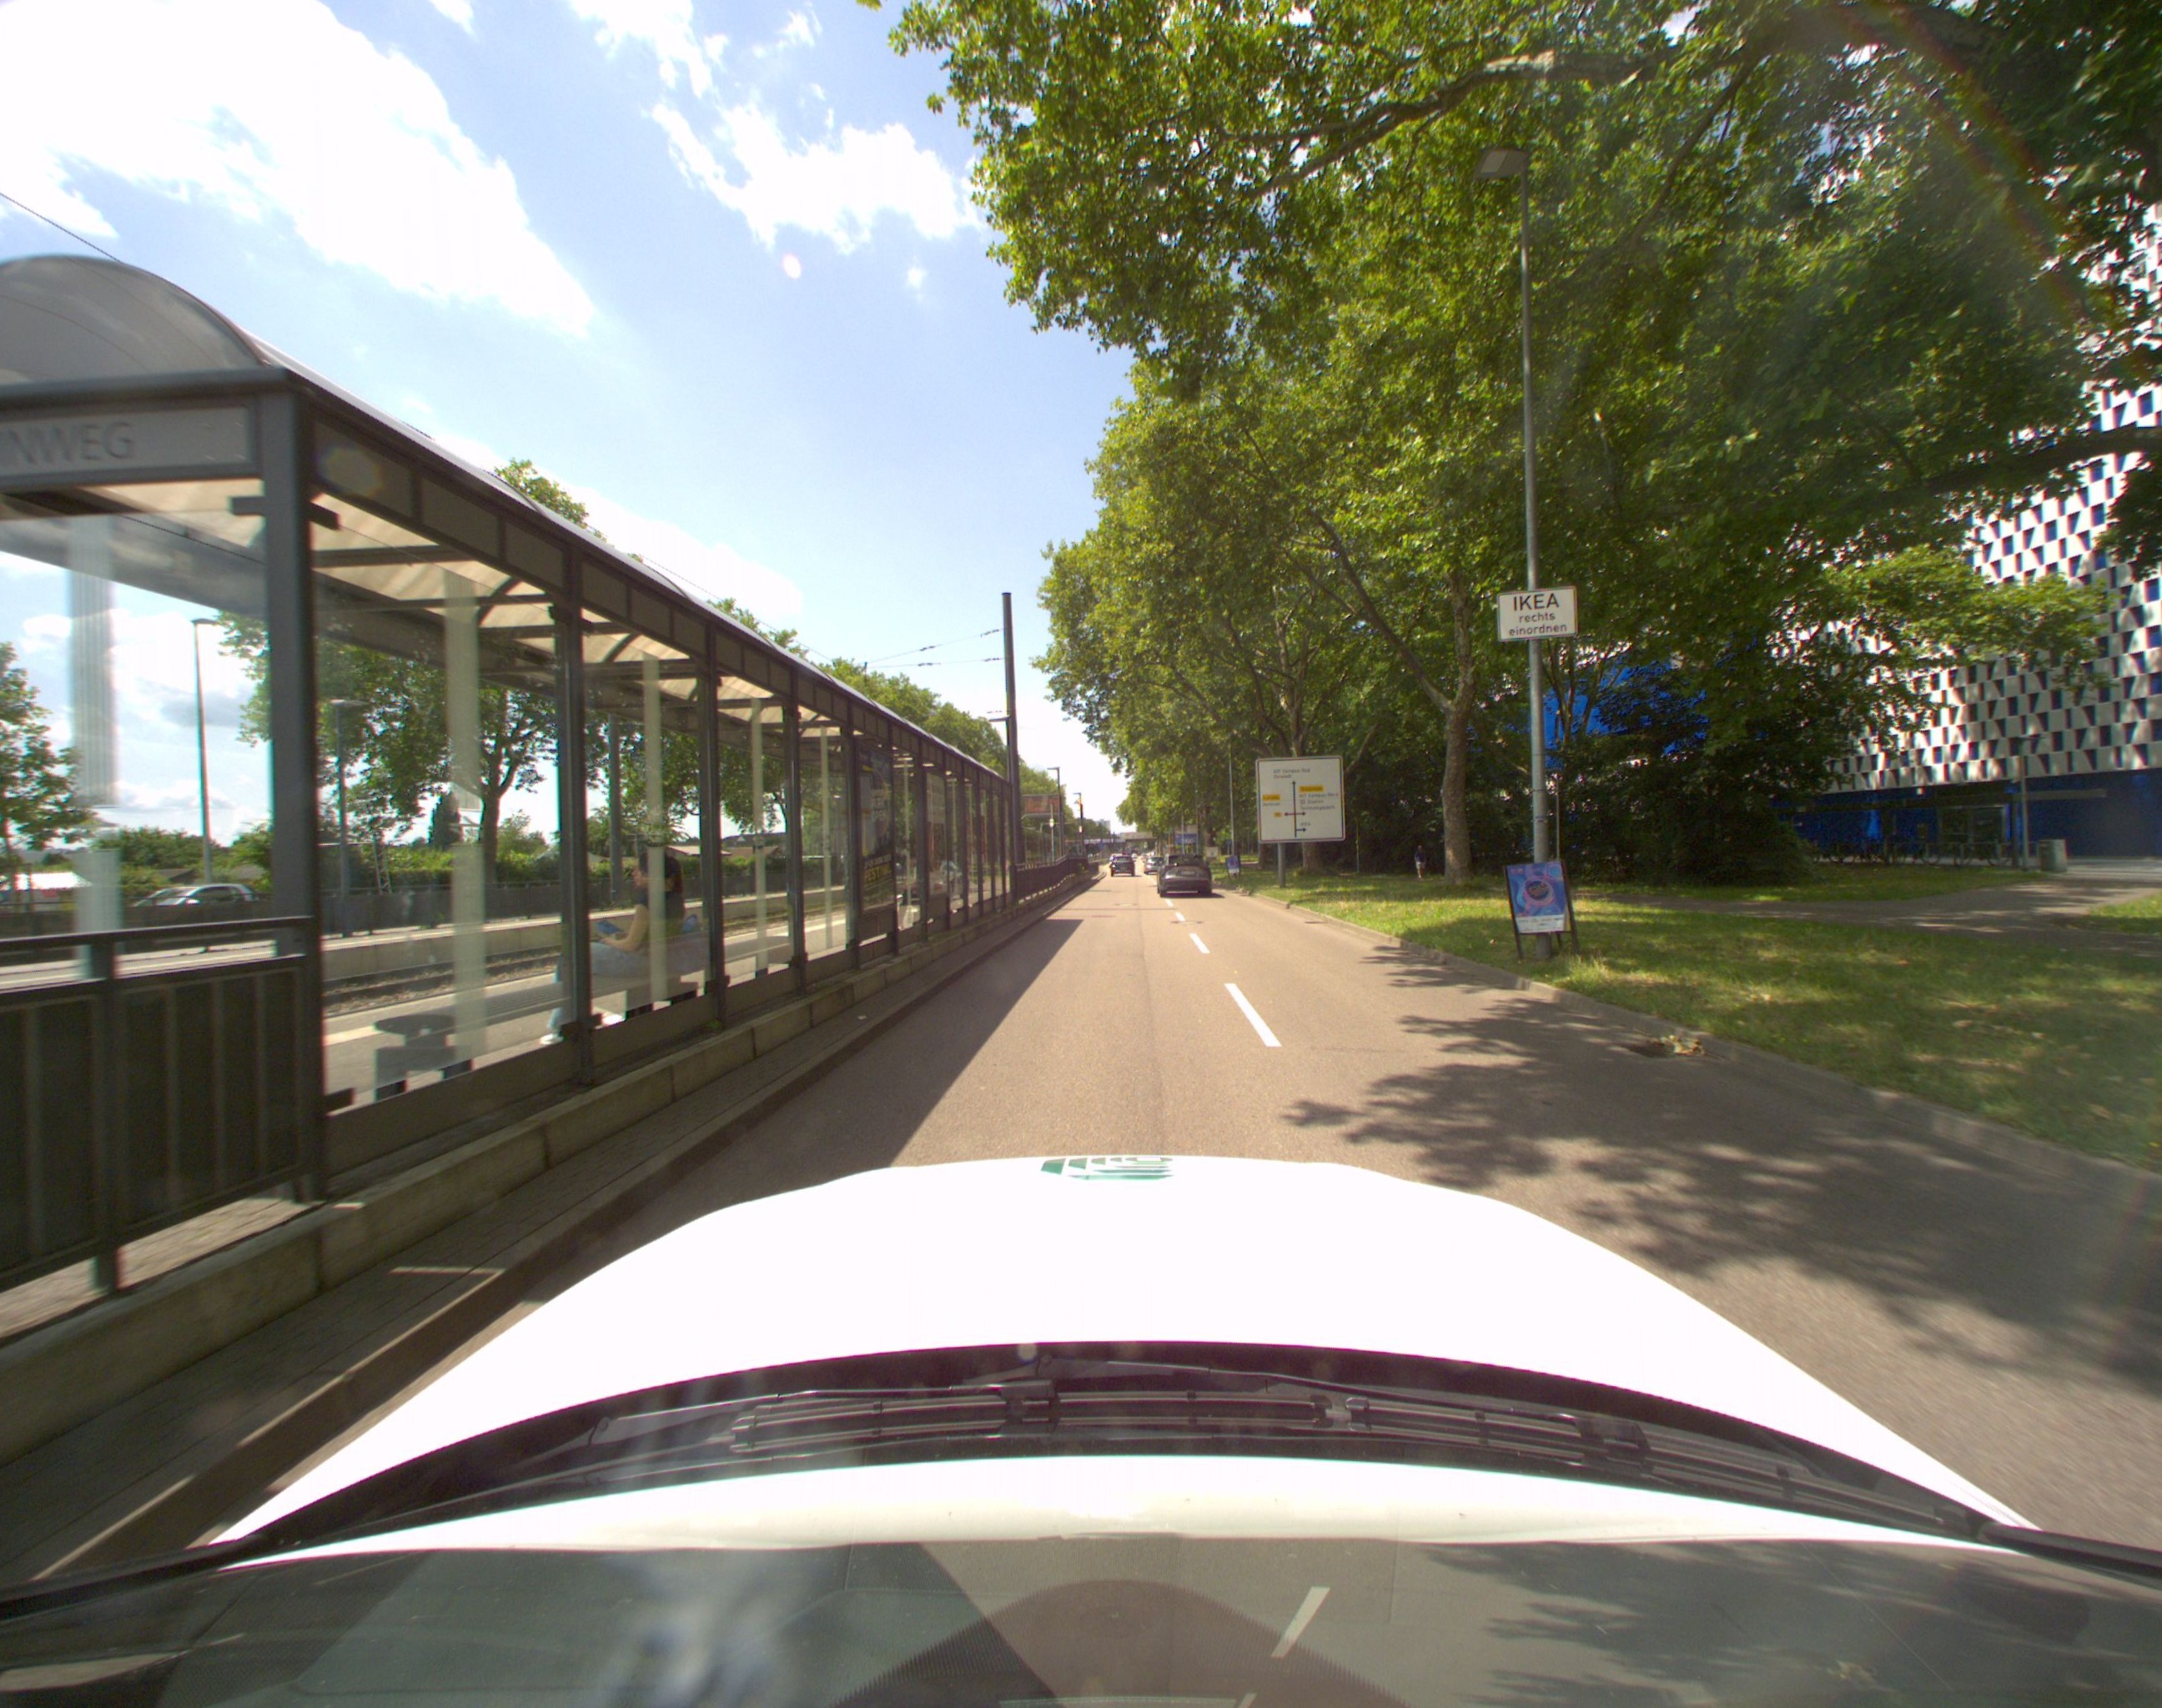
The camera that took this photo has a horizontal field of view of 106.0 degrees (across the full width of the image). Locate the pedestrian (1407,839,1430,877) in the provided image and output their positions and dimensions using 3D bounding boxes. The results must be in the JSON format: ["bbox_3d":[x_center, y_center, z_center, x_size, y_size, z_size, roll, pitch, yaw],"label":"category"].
[{"bbox_3d":[18.052,0.218,43.581,0.833,2.013,0.957,0,0,2],"label":"pedestrian"}]

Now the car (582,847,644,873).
[{"bbox_3d":[-32.909,0.396,57.393,1.896,1.661,3.931,-1,1,3],"label":"car"}]

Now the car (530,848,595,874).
[{"bbox_3d":[-36.732,0.461,57.822,1.896,1.661,3.931,-1,1,3],"label":"car"}]

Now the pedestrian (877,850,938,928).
[{"bbox_3d":[-2.783,0.549,13.143,0.783,1.209,0.700,-2,0,1],"label":"pedestrian"}]

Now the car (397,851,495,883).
[{"bbox_3d":[-34.717,0.696,44.583,3.896,1.661,1.913,-1,1,5],"label":"car"}]

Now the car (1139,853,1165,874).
[{"bbox_3d":[5.619,0.747,64.978,1.824,1.630,4.298,-1,0,2],"label":"car"}]

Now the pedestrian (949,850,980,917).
[{"bbox_3d":[-2.231,0.550,15.584,0.496,1.252,0.469,-1,1,0],"label":"pedestrian"}]

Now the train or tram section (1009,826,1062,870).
[{"bbox_3d":[-3.522,-0.478,65.284,3.024,3.186,9.456,-2,0,4],"label":"train or tram section"}]

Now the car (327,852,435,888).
[{"bbox_3d":[-35.263,0.782,41.081,3.896,1.661,1.913,-1,1,5],"label":"car"}]

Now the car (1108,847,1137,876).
[{"bbox_3d":[3.115,0.522,60.054,1.984,1.989,4.370,0,2,5],"label":"car"}]

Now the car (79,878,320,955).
[{"bbox_3d":[-22.603,1.541,21.150,1.701,1.585,4.005,-1,1,4],"label":"car"}]

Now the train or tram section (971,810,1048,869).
[{"bbox_3d":[-4.221,-0.807,52.016,3.025,3.186,14.109,-2,0,2],"label":"train or tram section"}]

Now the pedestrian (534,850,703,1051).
[{"bbox_3d":[-2.912,0.573,5.181,0.690,1.190,0.643,0,0,4],"label":"pedestrian"}]

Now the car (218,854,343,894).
[{"bbox_3d":[-36.107,0.887,36.794,3.896,1.661,1.913,-1,1,5],"label":"car"}]

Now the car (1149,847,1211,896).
[{"bbox_3d":[3.613,0.641,30.442,1.890,1.675,4.521,-1,-1,2],"label":"car"}]
